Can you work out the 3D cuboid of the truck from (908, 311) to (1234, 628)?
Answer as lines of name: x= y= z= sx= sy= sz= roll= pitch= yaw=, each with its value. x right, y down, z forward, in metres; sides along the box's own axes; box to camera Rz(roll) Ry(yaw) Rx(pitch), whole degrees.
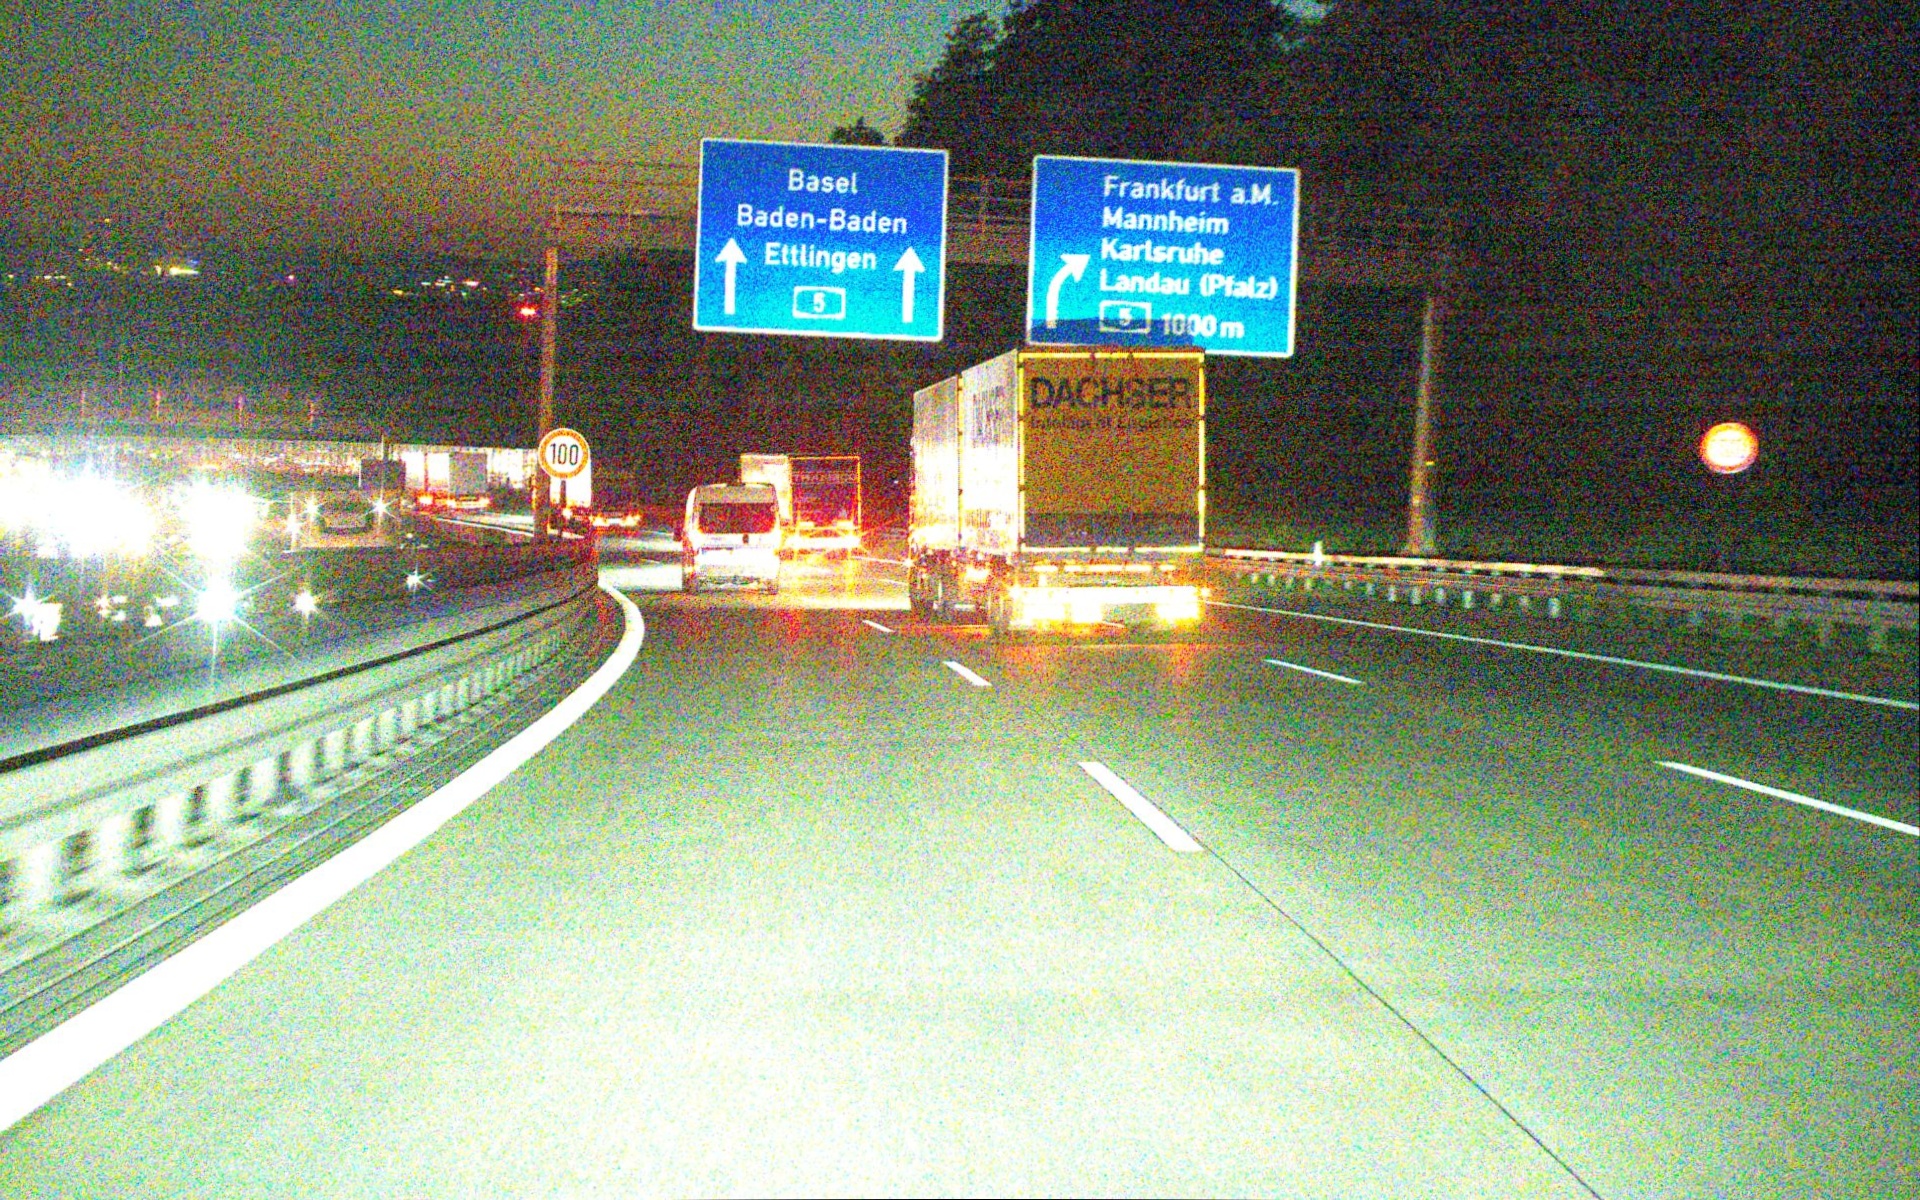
truck: x=1.324 y=-1.879 z=54.547 sx=3.482 sy=4.120 sz=18.712 roll=1 pitch=1 yaw=-3

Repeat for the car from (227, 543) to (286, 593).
car: x=-21.505 y=-0.961 z=105.187 sx=1.605 sy=1.474 sz=4.075 roll=-1 pitch=0 yaw=-10

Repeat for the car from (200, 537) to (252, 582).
car: x=-32.933 y=-1.814 z=154.226 sx=1.993 sy=1.953 sz=4.988 roll=-2 pitch=1 yaw=-15

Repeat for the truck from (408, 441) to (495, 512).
truck: x=-34.170 y=-8.341 z=230.697 sx=3.343 sy=4.460 sz=13.915 roll=2 pitch=2 yaw=-18

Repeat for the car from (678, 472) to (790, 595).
car: x=-5.230 y=-1.519 z=78.922 sx=2.337 sy=2.631 sz=5.248 roll=3 pitch=1 yaw=-5

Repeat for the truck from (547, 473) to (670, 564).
truck: x=-19.791 y=-4.689 z=191.978 sx=3.914 sy=4.611 sz=21.027 roll=-2 pitch=3 yaw=-14

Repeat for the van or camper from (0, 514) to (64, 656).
van or camper: x=-20.771 y=-0.384 z=74.941 sx=1.833 sy=2.961 sz=6.402 roll=-1 pitch=2 yaw=-10

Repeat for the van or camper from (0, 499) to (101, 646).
van or camper: x=-21.891 y=-0.703 z=82.057 sx=2.268 sy=3.367 sz=5.697 roll=-1 pitch=2 yaw=-10

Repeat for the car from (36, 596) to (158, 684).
car: x=-15.669 y=0.707 z=62.588 sx=1.600 sy=1.437 sz=4.001 roll=-1 pitch=1 yaw=-6

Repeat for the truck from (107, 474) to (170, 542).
truck: x=-40.769 y=-4.575 z=170.523 sx=2.375 sy=3.248 sz=7.726 roll=-2 pitch=2 yaw=-18

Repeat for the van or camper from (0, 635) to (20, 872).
van or camper: x=-9.159 y=1.378 z=27.806 sx=2.030 sy=2.007 sz=4.576 roll=-1 pitch=1 yaw=-3

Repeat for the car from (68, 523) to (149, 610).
car: x=-24.282 y=-0.988 z=98.201 sx=1.833 sy=2.362 sz=5.449 roll=-1 pitch=2 yaw=-10

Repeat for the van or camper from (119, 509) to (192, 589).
van or camper: x=-28.841 y=-1.863 z=123.423 sx=2.444 sy=2.751 sz=6.491 roll=-1 pitch=2 yaw=-13

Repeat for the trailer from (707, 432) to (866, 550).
trailer: x=-6.585 y=-4.169 z=127.843 sx=2.853 sy=4.053 sz=13.211 roll=-1 pitch=3 yaw=-17

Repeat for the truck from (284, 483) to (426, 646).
truck: x=-14.034 y=-0.863 z=80.240 sx=2.654 sy=3.579 sz=8.552 roll=1 pitch=1 yaw=-6

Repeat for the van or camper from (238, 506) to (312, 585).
van or camper: x=-24.900 y=-1.991 z=124.767 sx=2.444 sy=2.751 sz=6.491 roll=-1 pitch=2 yaw=-13
